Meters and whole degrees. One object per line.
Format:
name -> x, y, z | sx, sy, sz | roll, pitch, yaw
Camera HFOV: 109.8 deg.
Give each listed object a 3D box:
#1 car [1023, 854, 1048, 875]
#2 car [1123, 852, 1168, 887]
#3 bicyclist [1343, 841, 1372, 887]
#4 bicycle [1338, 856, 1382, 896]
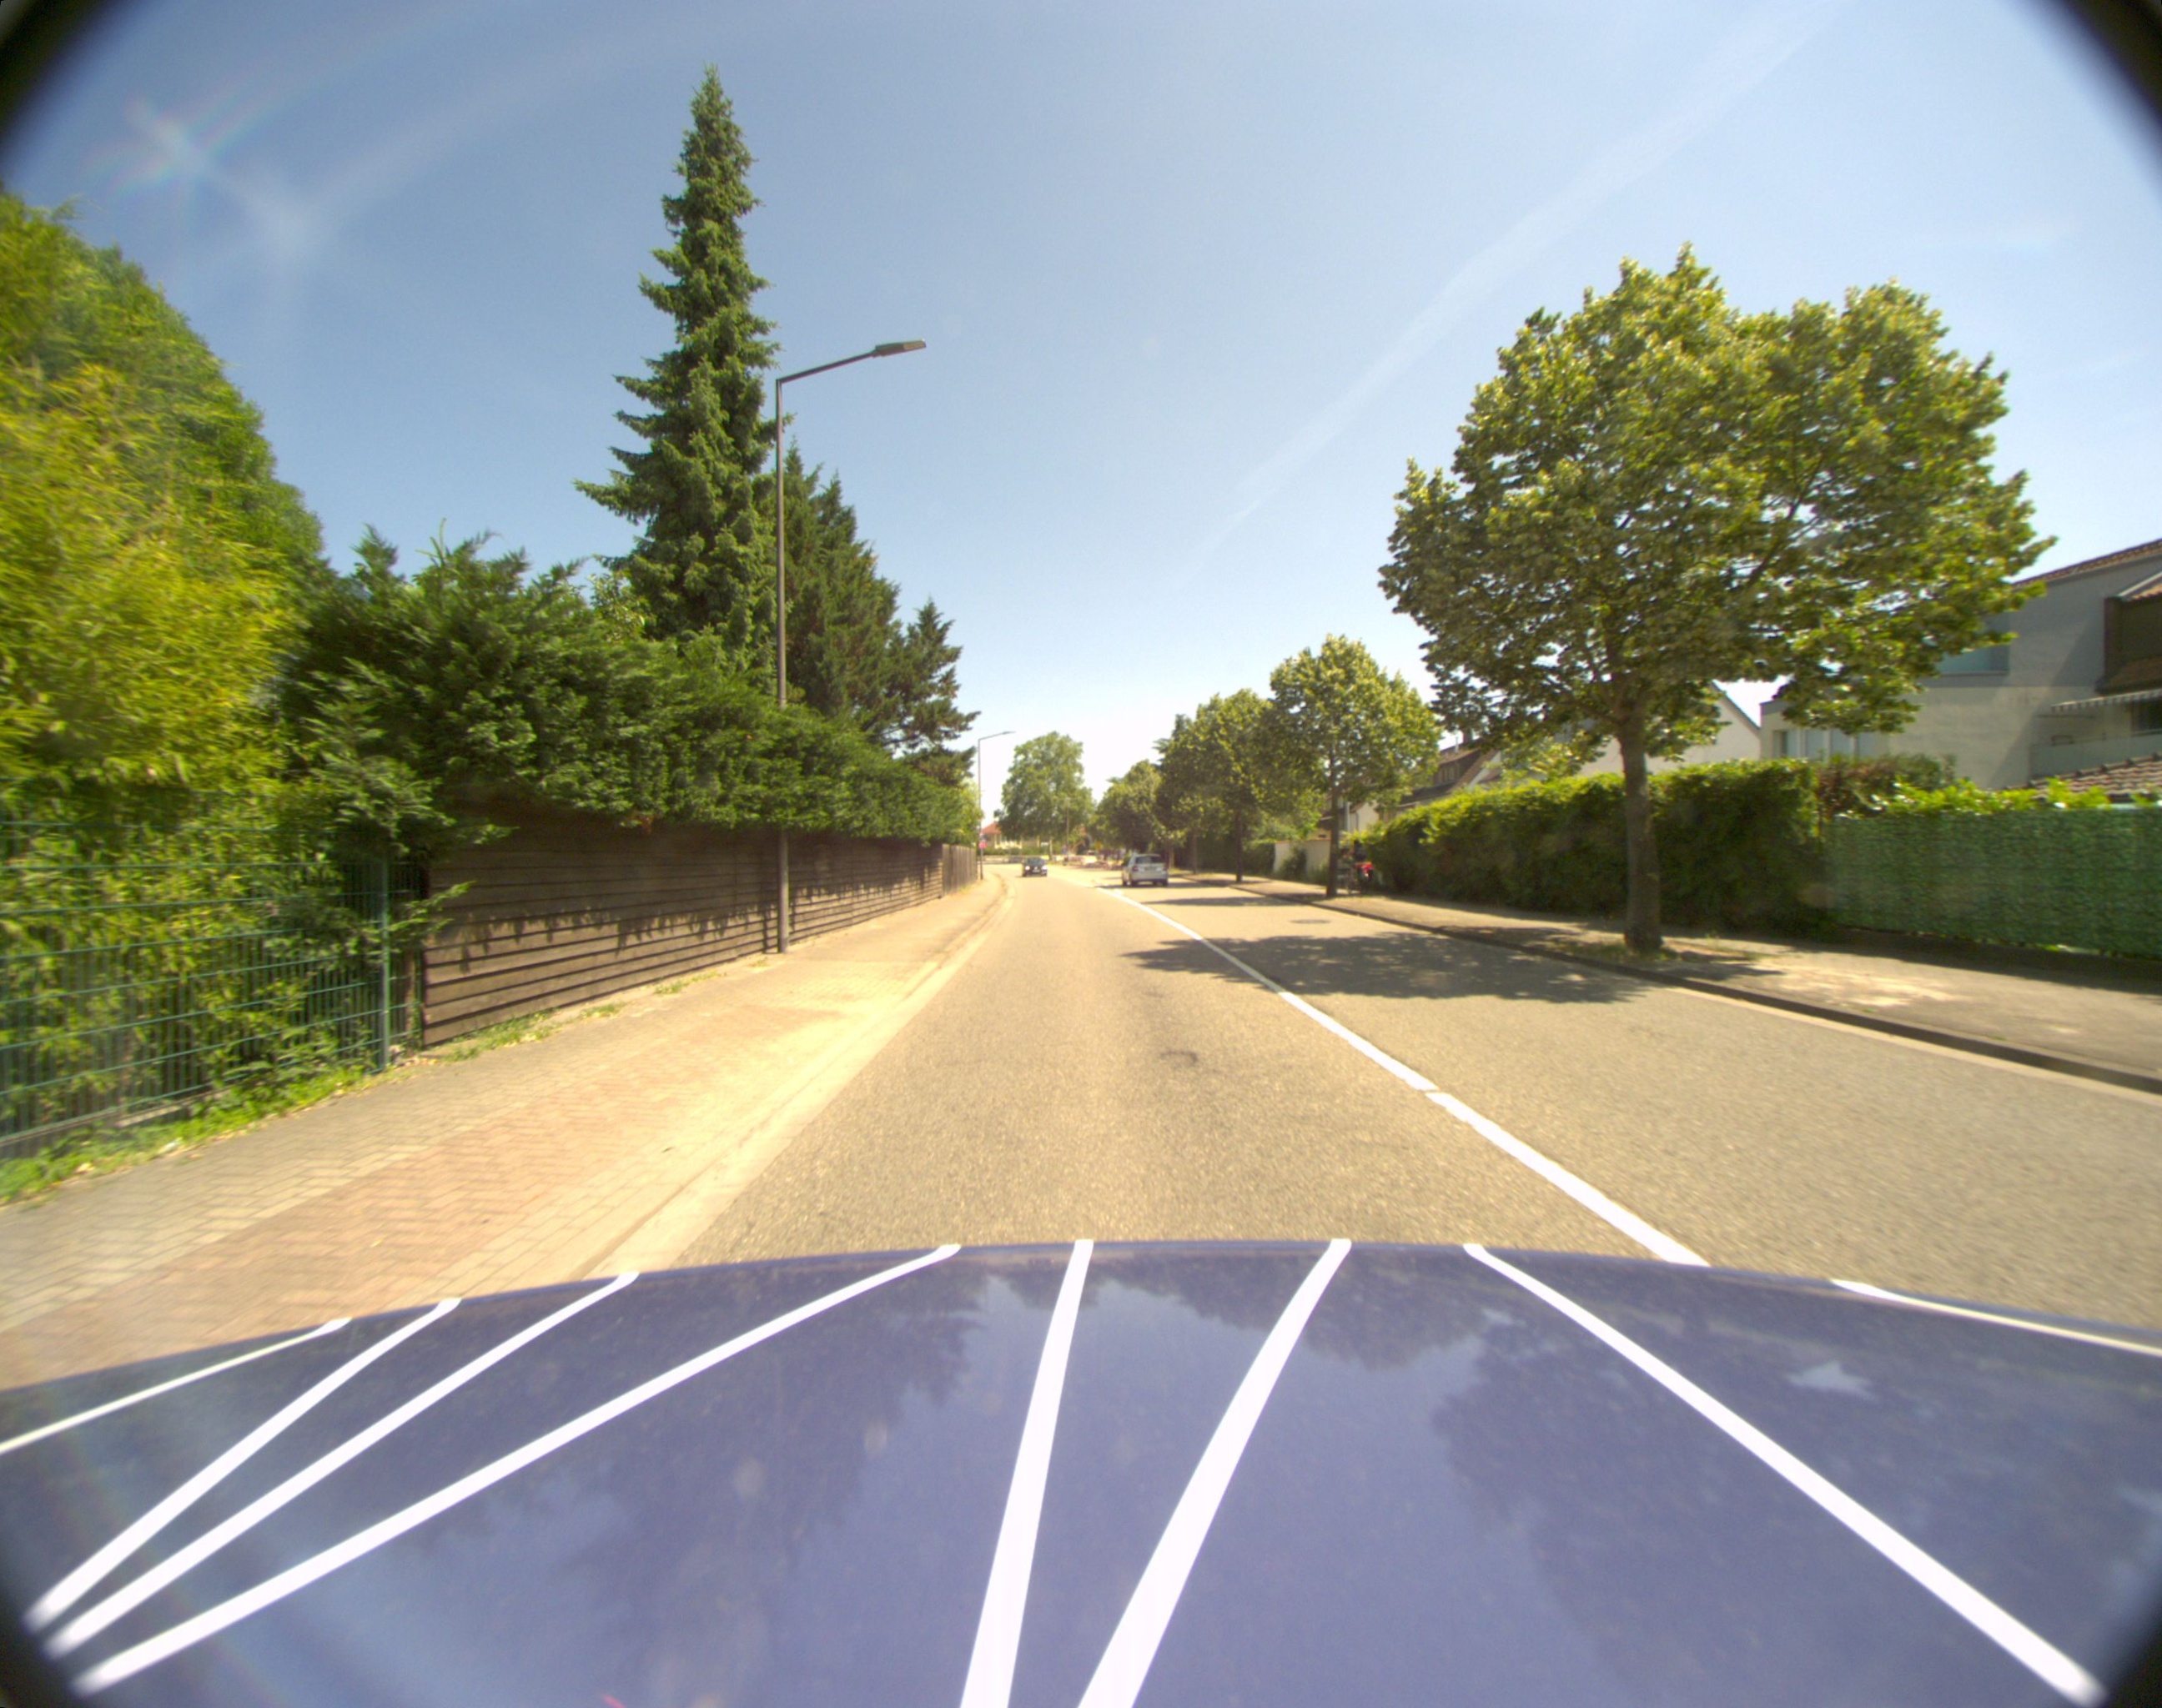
car -> -3.348, 0.757, 55.517 | 1.608, 1.436, 3.907 | -2, 1, -6
car -> 2.888, 0.661, 34.663 | 1.616, 1.474, 3.706 | -1, 0, -2
bicyclist -> 8.521, 0.305, 23.409 | 0.630, 1.400, 0.676 | 0, 0, -2
bicycle -> 8.527, 0.649, 23.307 | 0.634, 1.173, 1.815 | 0, 0, -2
